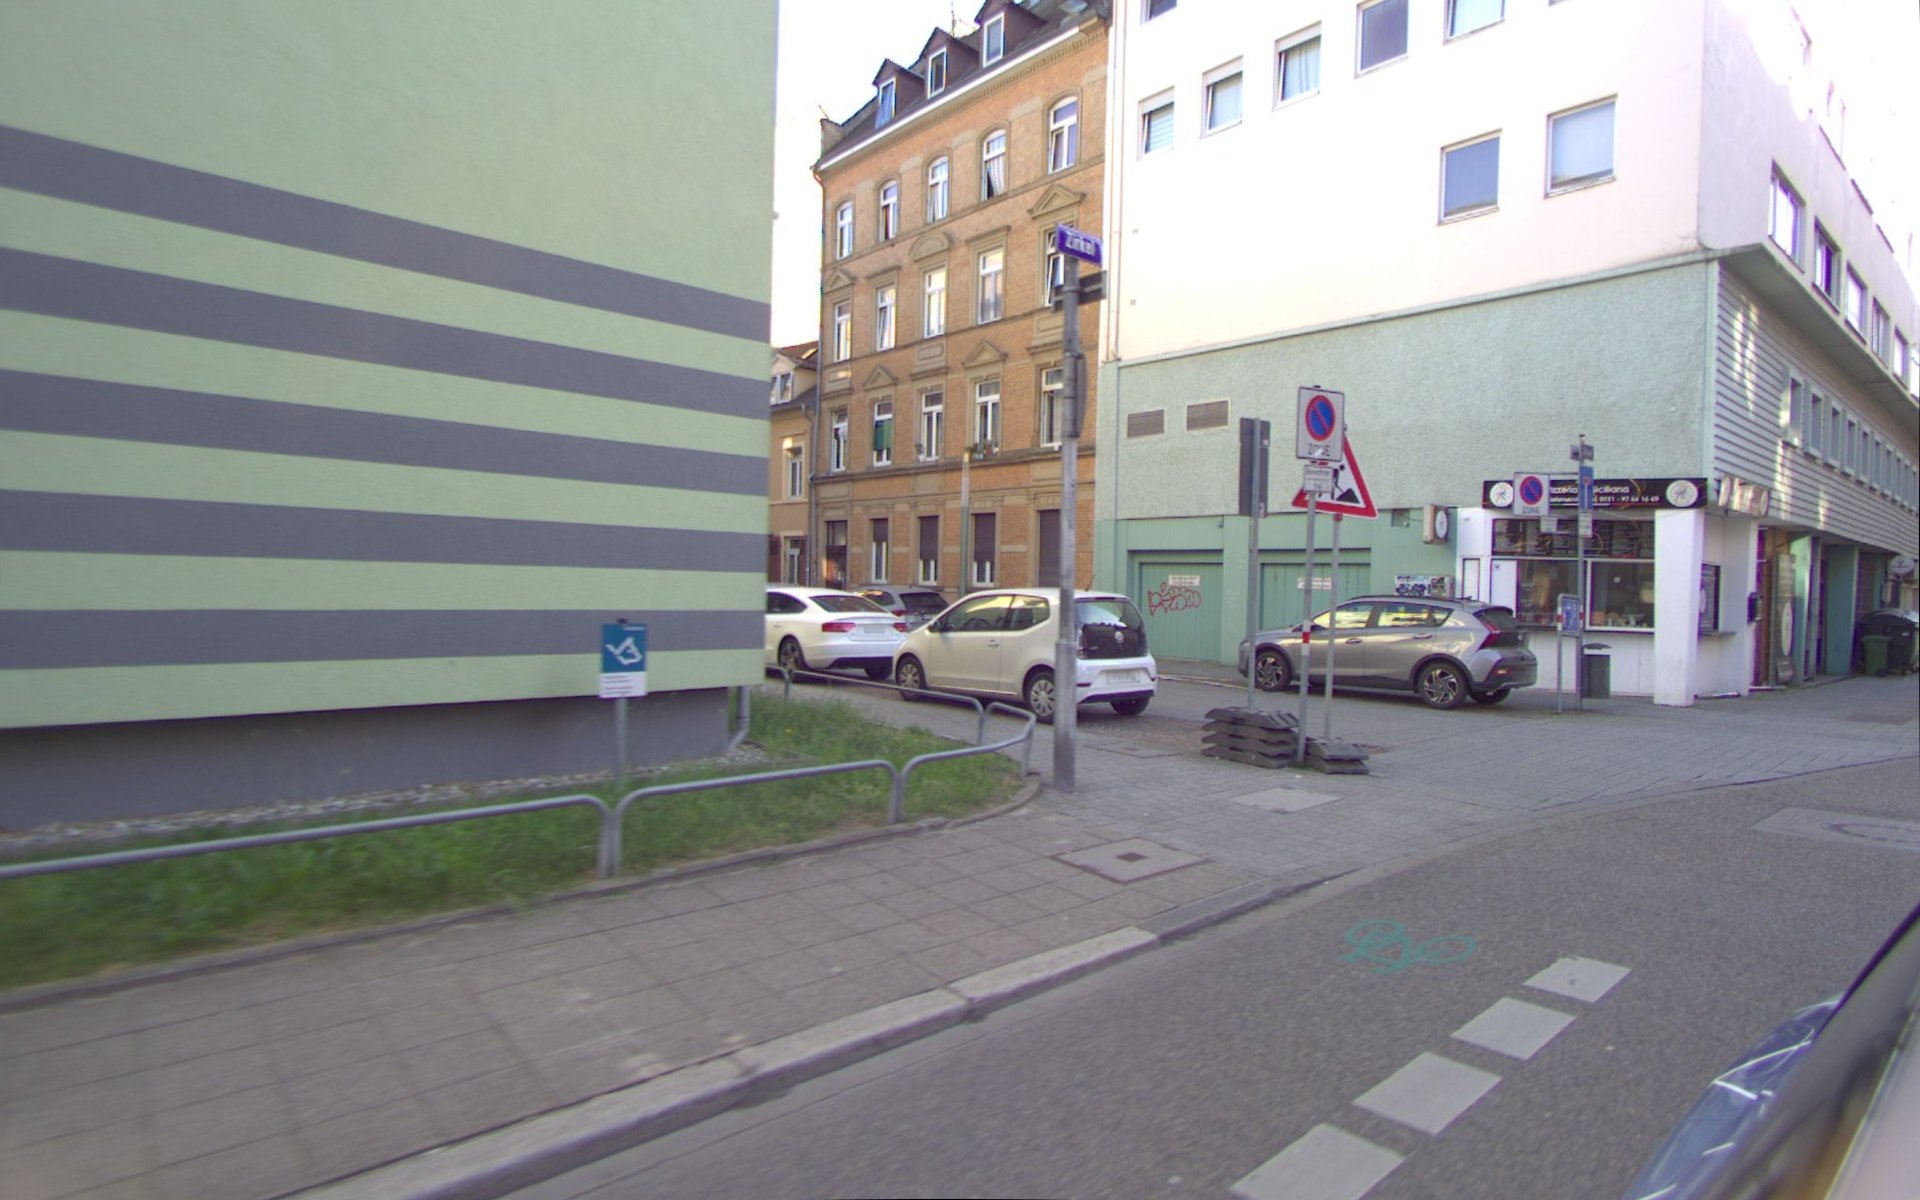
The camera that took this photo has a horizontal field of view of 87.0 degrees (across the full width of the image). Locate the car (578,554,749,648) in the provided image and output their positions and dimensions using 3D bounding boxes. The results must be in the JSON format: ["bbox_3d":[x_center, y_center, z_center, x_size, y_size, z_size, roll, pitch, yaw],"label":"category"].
[{"bbox_3d":[-6.147,-0.047,20.699,1.758,1.738,4.028,0,2,-43],"label":"car"}]

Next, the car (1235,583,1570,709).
[{"bbox_3d":[6.282,0.544,14.719,1.833,1.500,4.085,0,2,-41],"label":"car"}]

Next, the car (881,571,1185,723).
[{"bbox_3d":[0.767,0.447,12.353,1.679,1.500,3.552,0,2,-41],"label":"car"}]

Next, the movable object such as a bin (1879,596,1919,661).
[{"bbox_3d":[23.453,0.687,24.909,1.524,1.497,0.983,-2,4,-40],"label":"movable object such as a bin"}]

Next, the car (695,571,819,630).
[{"bbox_3d":[-5.725,-0.047,28.282,1.752,1.500,3.964,-1,3,-40],"label":"car"}]

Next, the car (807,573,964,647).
[{"bbox_3d":[-1.827,0.165,23.619,1.644,1.500,4.180,-2,3,-38],"label":"car"}]

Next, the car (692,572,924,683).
[{"bbox_3d":[-2.539,0.335,16.133,1.679,1.500,4.218,0,1,-40],"label":"car"}]

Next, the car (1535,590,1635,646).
[{"bbox_3d":[18.131,0.494,29.311,3.341,1.487,1.585,1,2,-43],"label":"car"}]

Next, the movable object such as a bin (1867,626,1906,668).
[{"bbox_3d":[21.422,1.081,23.399,0.514,0.910,0.558,-2,4,-40],"label":"movable object such as a bin"}]

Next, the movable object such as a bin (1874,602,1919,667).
[{"bbox_3d":[22.298,0.795,23.783,1.297,1.401,0.983,-2,4,-40],"label":"movable object such as a bin"}]
